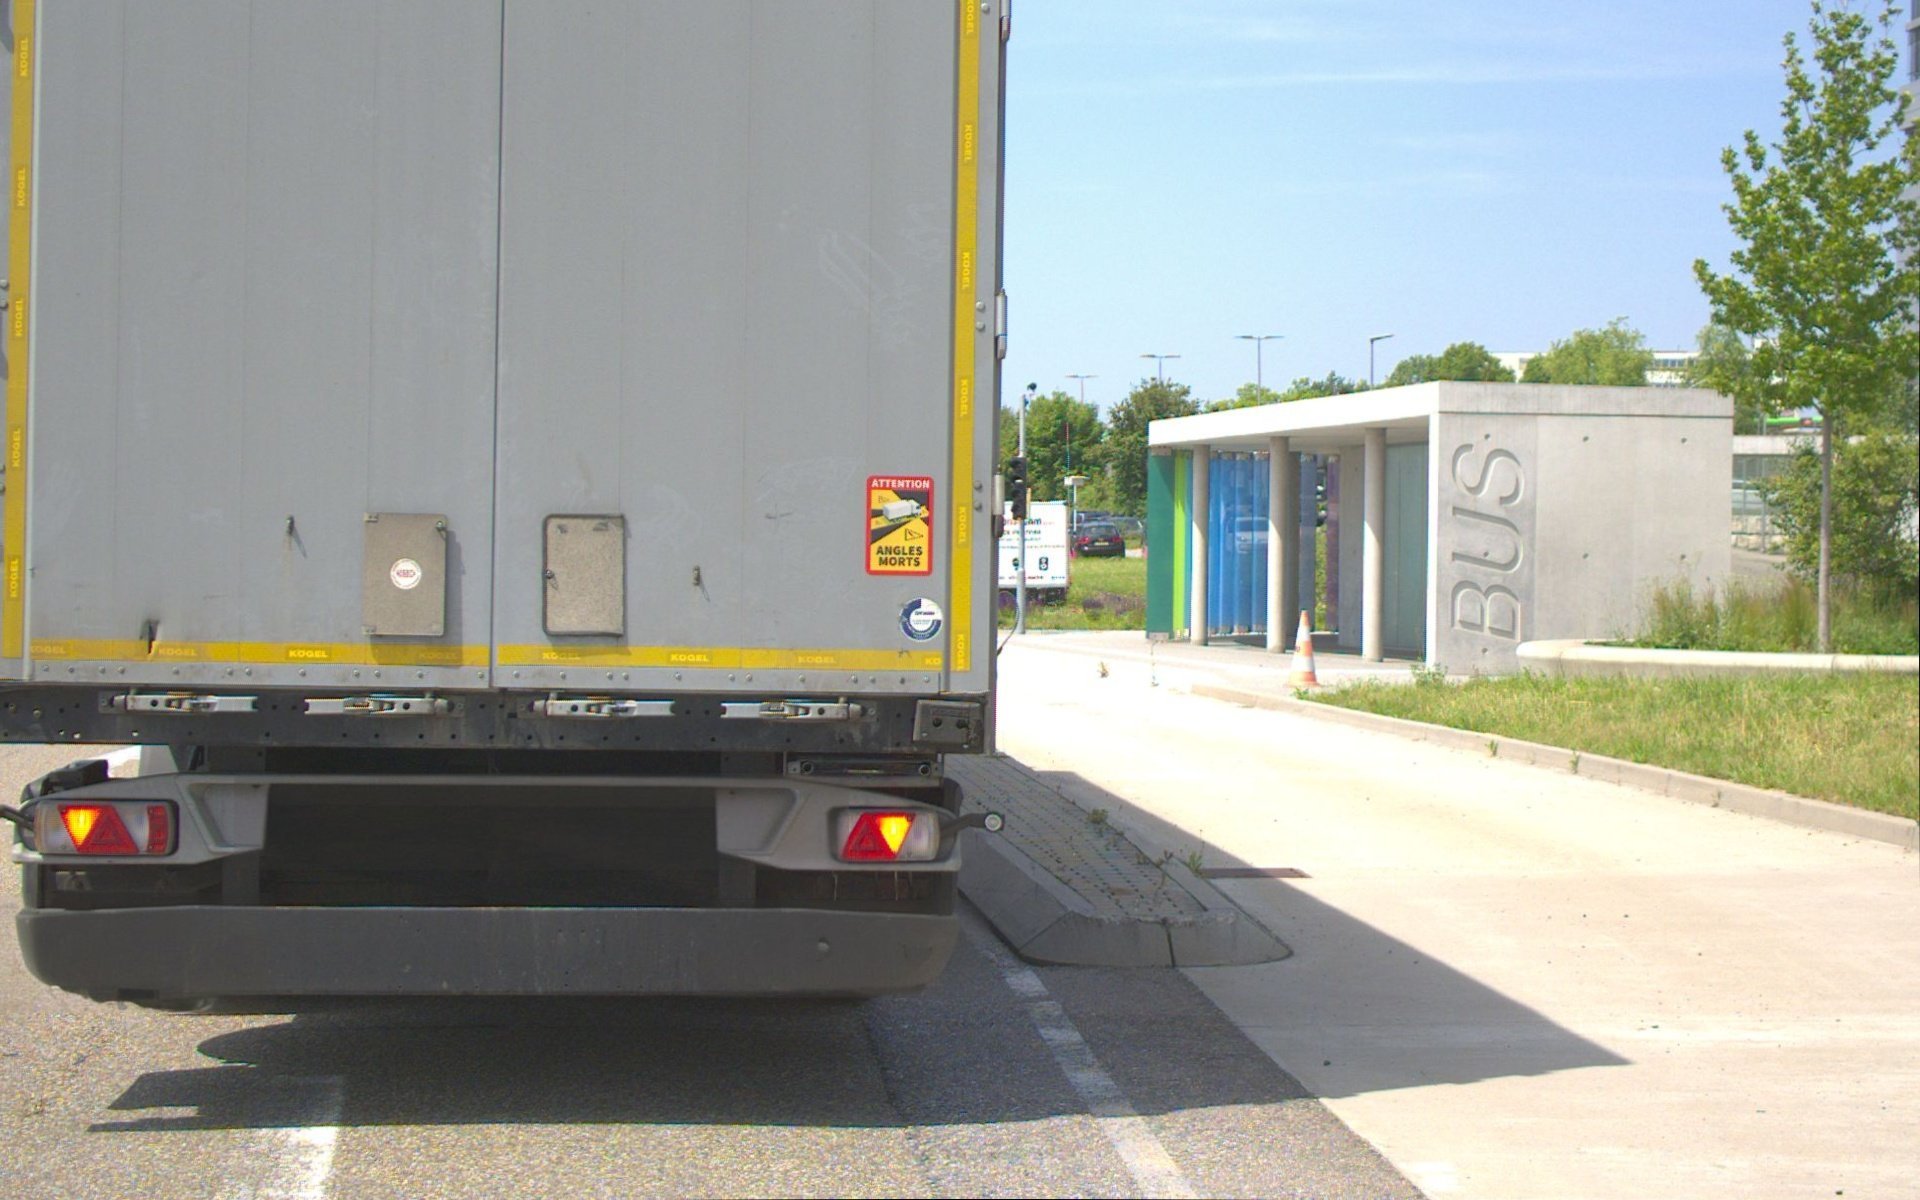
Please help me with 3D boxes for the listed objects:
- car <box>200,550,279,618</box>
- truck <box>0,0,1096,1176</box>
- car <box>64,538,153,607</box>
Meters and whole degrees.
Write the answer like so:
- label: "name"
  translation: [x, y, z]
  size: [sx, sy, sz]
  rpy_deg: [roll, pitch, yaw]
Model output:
- label: "car"
  translation: [-20.390, -0.475, 97.393]
  size: [1.993, 1.809, 4.297]
  rpy_deg: [-2, 1, -10]
- label: "truck"
  translation: [-1.541, -0.927, 12.594]
  size: [2.906, 4.395, 8.862]
  rpy_deg: [0, 1, -5]
- label: "car"
  translation: [-23.070, -0.763, 93.206]
  size: [1.993, 1.781, 4.001]
  rpy_deg: [-2, 1, -10]
